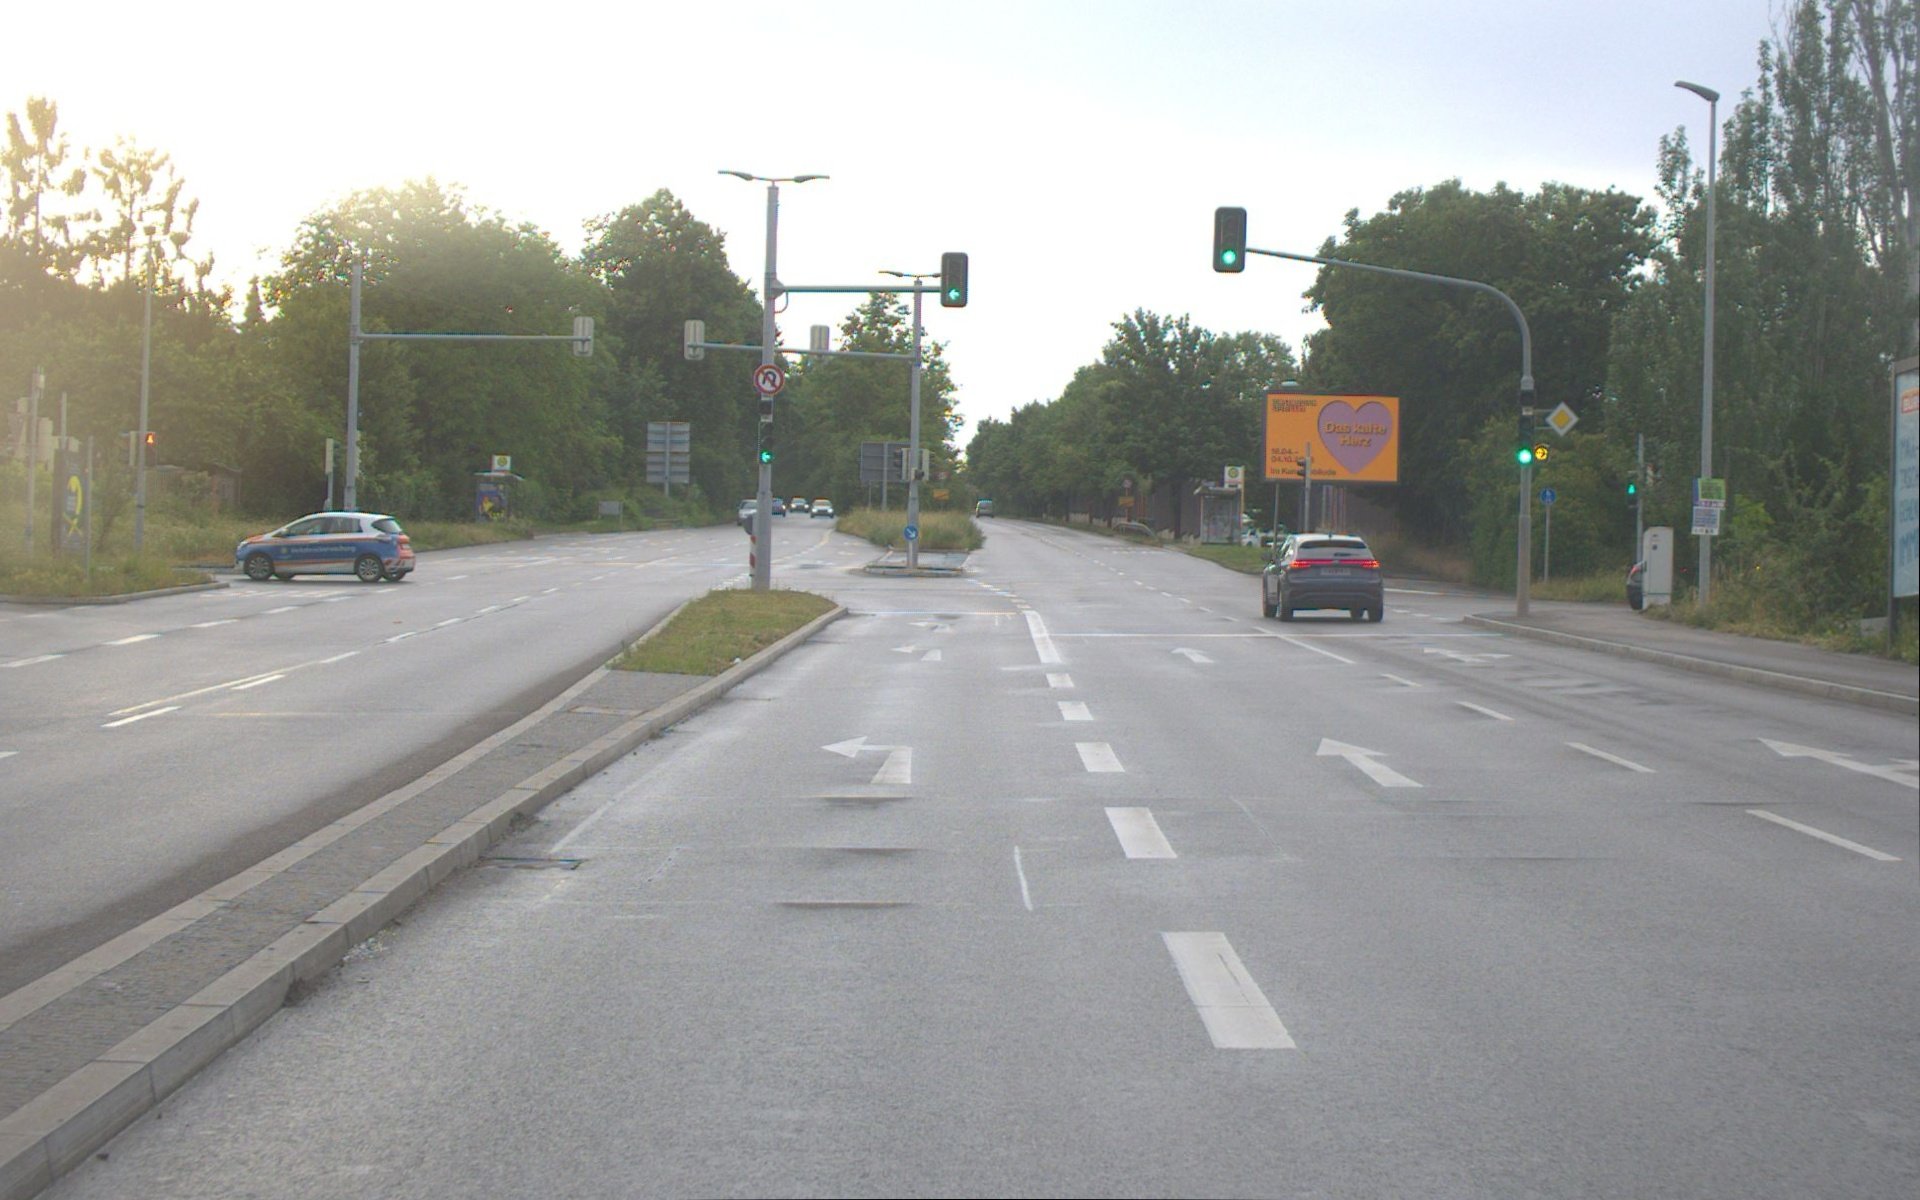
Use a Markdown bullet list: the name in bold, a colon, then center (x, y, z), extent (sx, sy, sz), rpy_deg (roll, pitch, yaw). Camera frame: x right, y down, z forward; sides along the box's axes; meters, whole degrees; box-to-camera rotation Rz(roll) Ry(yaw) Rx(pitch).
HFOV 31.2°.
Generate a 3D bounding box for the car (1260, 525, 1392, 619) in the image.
- **car**: center (6.207, -0.511, 58.682), extent (1.745, 1.465, 4.166), rpy_deg (2, 2, 0)

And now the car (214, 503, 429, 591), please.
- **car**: center (-14.295, -1.182, 77.112), extent (4.186, 1.712, 2.082), rpy_deg (3, 0, 11)

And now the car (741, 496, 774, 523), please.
- **car**: center (-12.580, -5.645, 214.119), extent (1.768, 1.590, 4.489), rpy_deg (2, 2, 0)

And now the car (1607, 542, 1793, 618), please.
- **car**: center (15.192, -0.405, 70.450), extent (1.749, 1.465, 4.155), rpy_deg (3, 2, 44)
